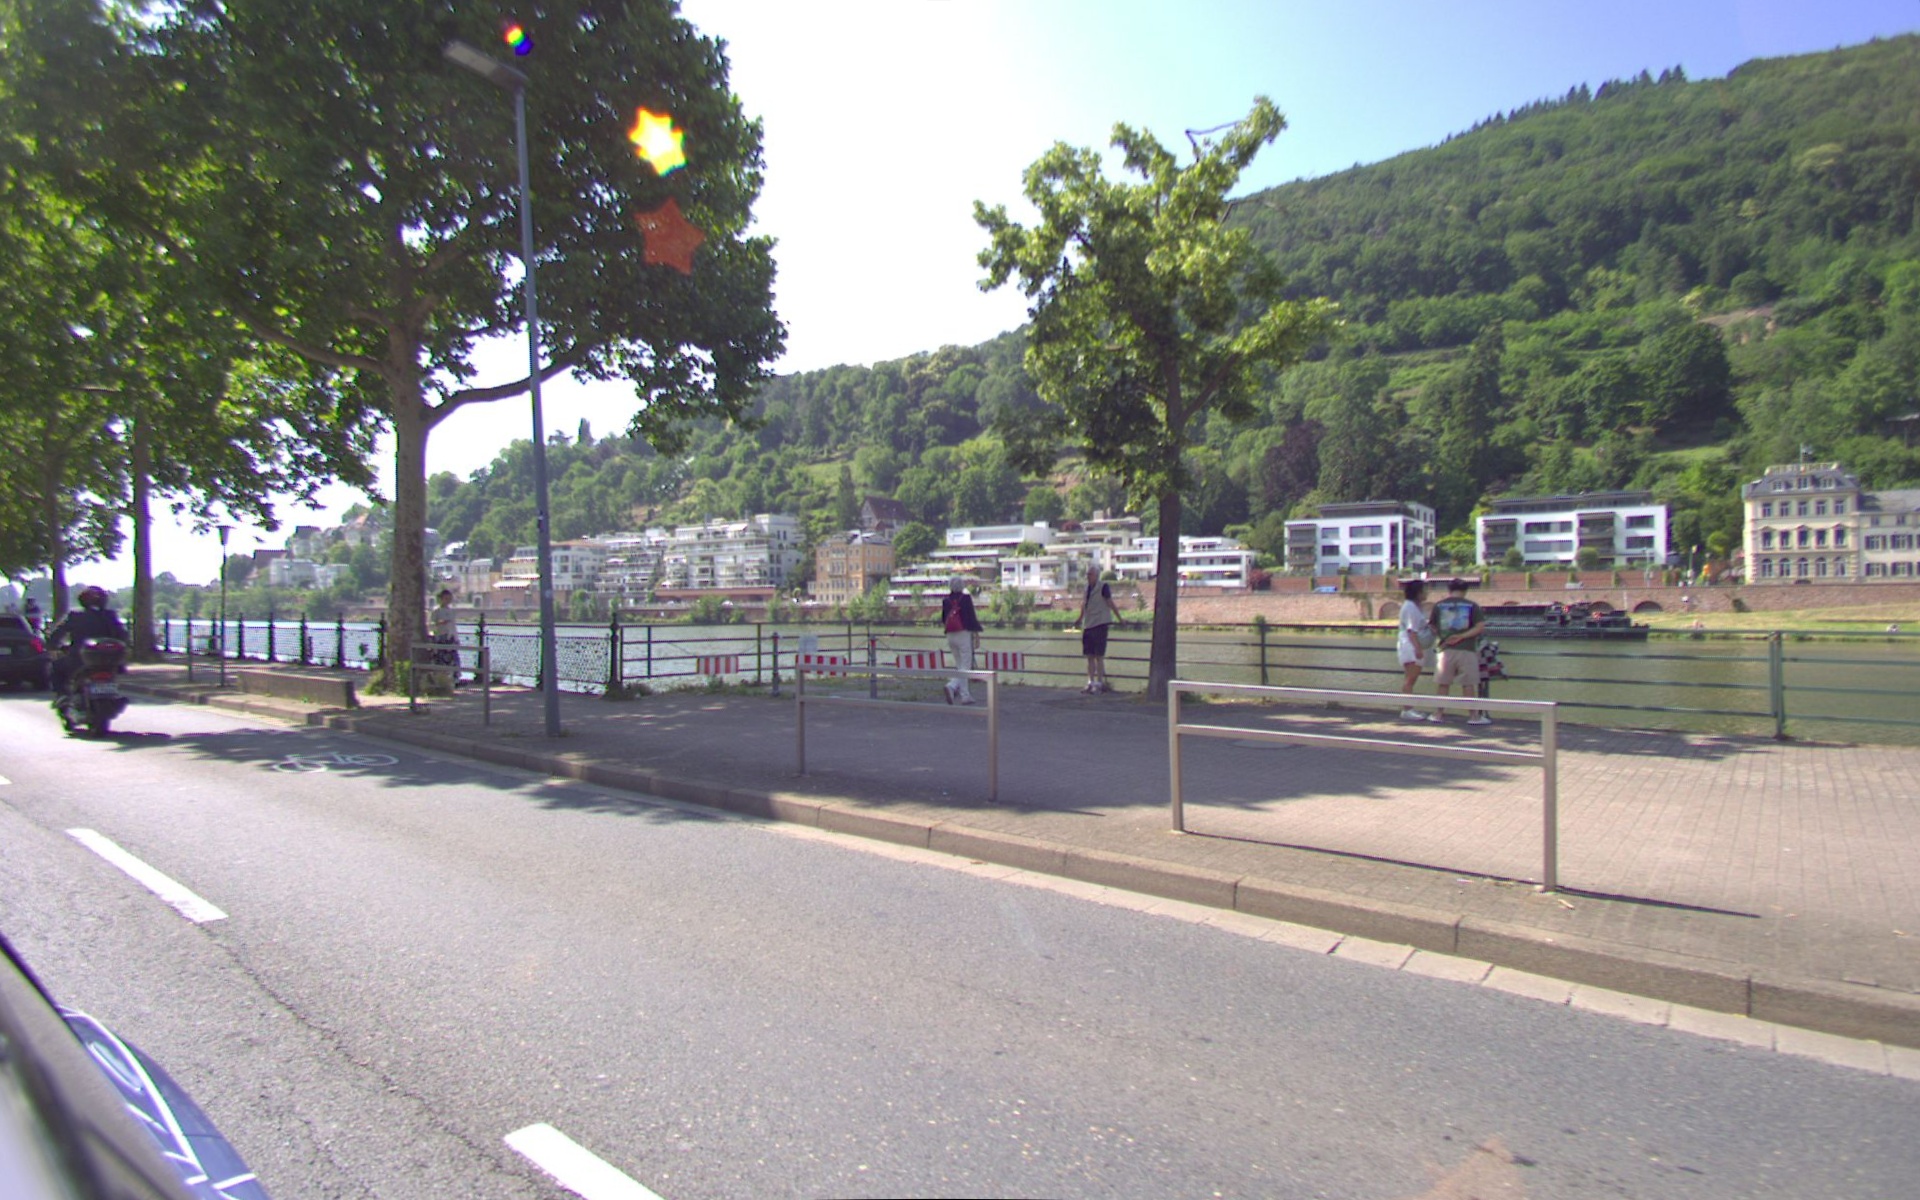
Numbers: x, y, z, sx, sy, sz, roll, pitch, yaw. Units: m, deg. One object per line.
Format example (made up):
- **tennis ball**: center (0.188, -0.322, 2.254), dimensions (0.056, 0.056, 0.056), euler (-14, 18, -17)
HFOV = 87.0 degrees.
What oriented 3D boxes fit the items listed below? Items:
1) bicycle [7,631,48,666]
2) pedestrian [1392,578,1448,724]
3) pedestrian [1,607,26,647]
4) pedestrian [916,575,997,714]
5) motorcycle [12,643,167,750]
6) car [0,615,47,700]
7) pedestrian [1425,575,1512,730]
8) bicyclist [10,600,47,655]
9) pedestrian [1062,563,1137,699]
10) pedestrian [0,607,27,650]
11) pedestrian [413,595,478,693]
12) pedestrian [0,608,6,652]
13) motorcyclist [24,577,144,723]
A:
- **bicycle**: center (-27.835, 1.424, 30.202), dimensions (1.953, 0.986, 0.746), euler (-2, -1, 43)
- **pedestrian**: center (5.232, 0.566, 11.507), dimensions (0.409, 1.609, 0.451), euler (0, -1, -44)
- **pedestrian**: center (-42.258, 1.201, 45.181), dimensions (0.971, 1.777, 0.704), euler (0, -1, 38)
- **pedestrian**: center (-0.044, 0.540, 12.983), dimensions (0.747, 1.695, 0.659), euler (-3, 2, -44)
- **motorcycle**: center (-10.104, 1.057, 11.715), dimensions (2.324, 1.085, 0.875), euler (-1, -2, 37)
- **car**: center (-18.541, 1.026, 18.850), dimensions (3.998, 1.469, 1.684), euler (0, -1, 39)
- **pedestrian**: center (5.602, 0.554, 11.142), dimensions (0.685, 1.628, 0.664), euler (0, -1, -44)
- **bicyclist**: center (-27.701, 0.809, 30.092), dimensions (1.089, 1.595, 0.711), euler (0, -1, 43)
- **pedestrian**: center (2.079, 0.447, 15.055), dimensions (0.885, 1.960, 0.687), euler (0, -1, 38)
- **pedestrian**: center (-38.179, 1.144, 40.830), dimensions (0.792, 1.726, 0.647), euler (-1, -2, 36)
- **pedestrian**: center (-8.633, 0.724, 16.986), dimensions (0.695, 1.598, 0.754), euler (0, -1, 38)
- **pedestrian**: center (-38.575, 1.187, 40.231), dimensions (0.781, 1.726, 0.827), euler (-1, -2, 38)
- **motorcyclist**: center (-10.172, 0.551, 11.756), dimensions (1.023, 1.595, 0.870), euler (0, -1, 38)
